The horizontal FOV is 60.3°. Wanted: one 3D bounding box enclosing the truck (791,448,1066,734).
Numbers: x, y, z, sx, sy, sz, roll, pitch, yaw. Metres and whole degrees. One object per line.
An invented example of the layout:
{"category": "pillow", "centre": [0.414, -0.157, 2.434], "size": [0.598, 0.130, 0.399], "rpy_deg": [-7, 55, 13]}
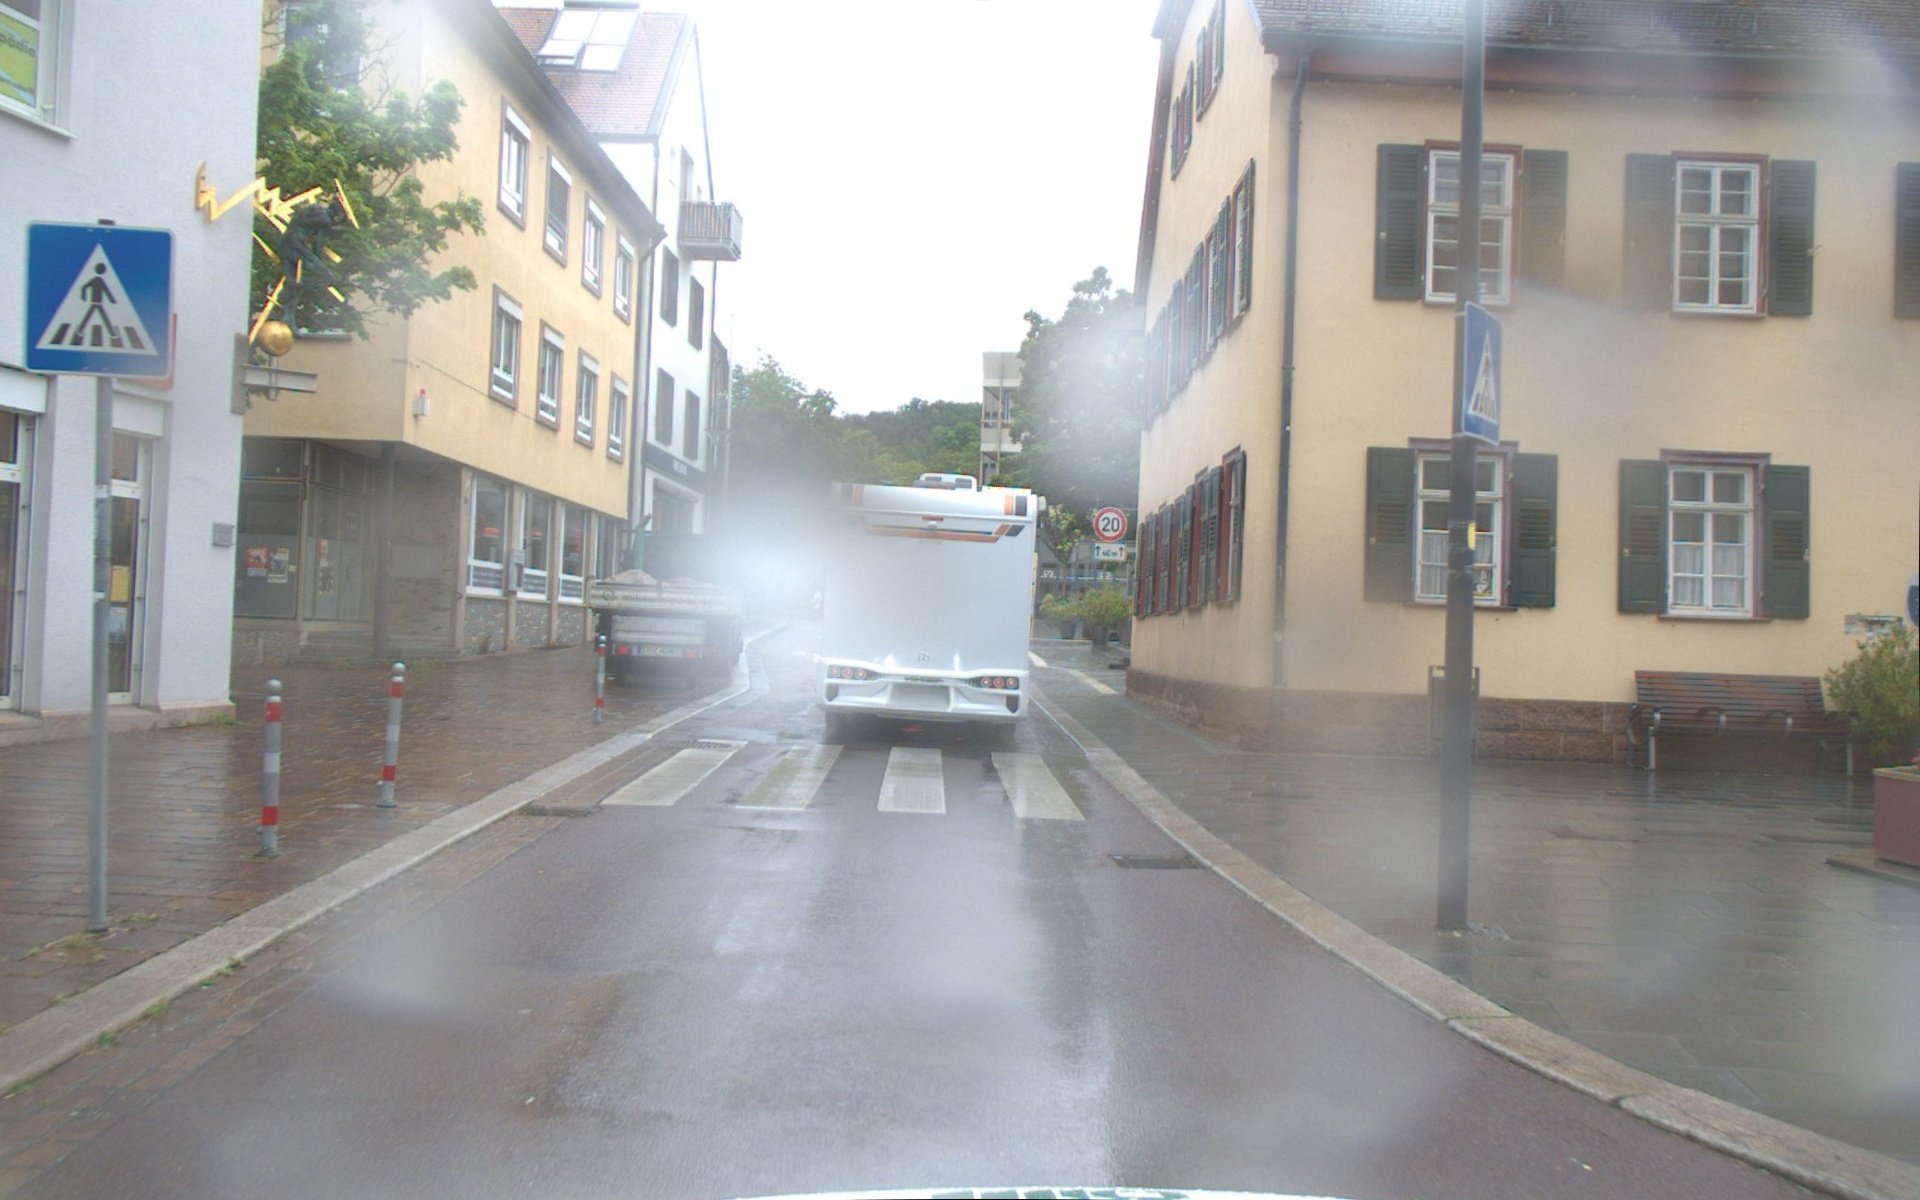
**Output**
{"category": "truck", "centre": [-0.329, -0.065, 19.828], "size": [2.748, 2.846, 6.106], "rpy_deg": [1, -1, 0]}

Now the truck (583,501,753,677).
{"category": "truck", "centre": [-4.925, -0.286, 28.860], "size": [2.353, 2.639, 6.476], "rpy_deg": [2, 2, -6]}

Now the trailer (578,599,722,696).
{"category": "trailer", "centre": [-4.460, 0.653, 24.161], "size": [1.817, 1.144, 3.016], "rpy_deg": [2, 2, -7]}
